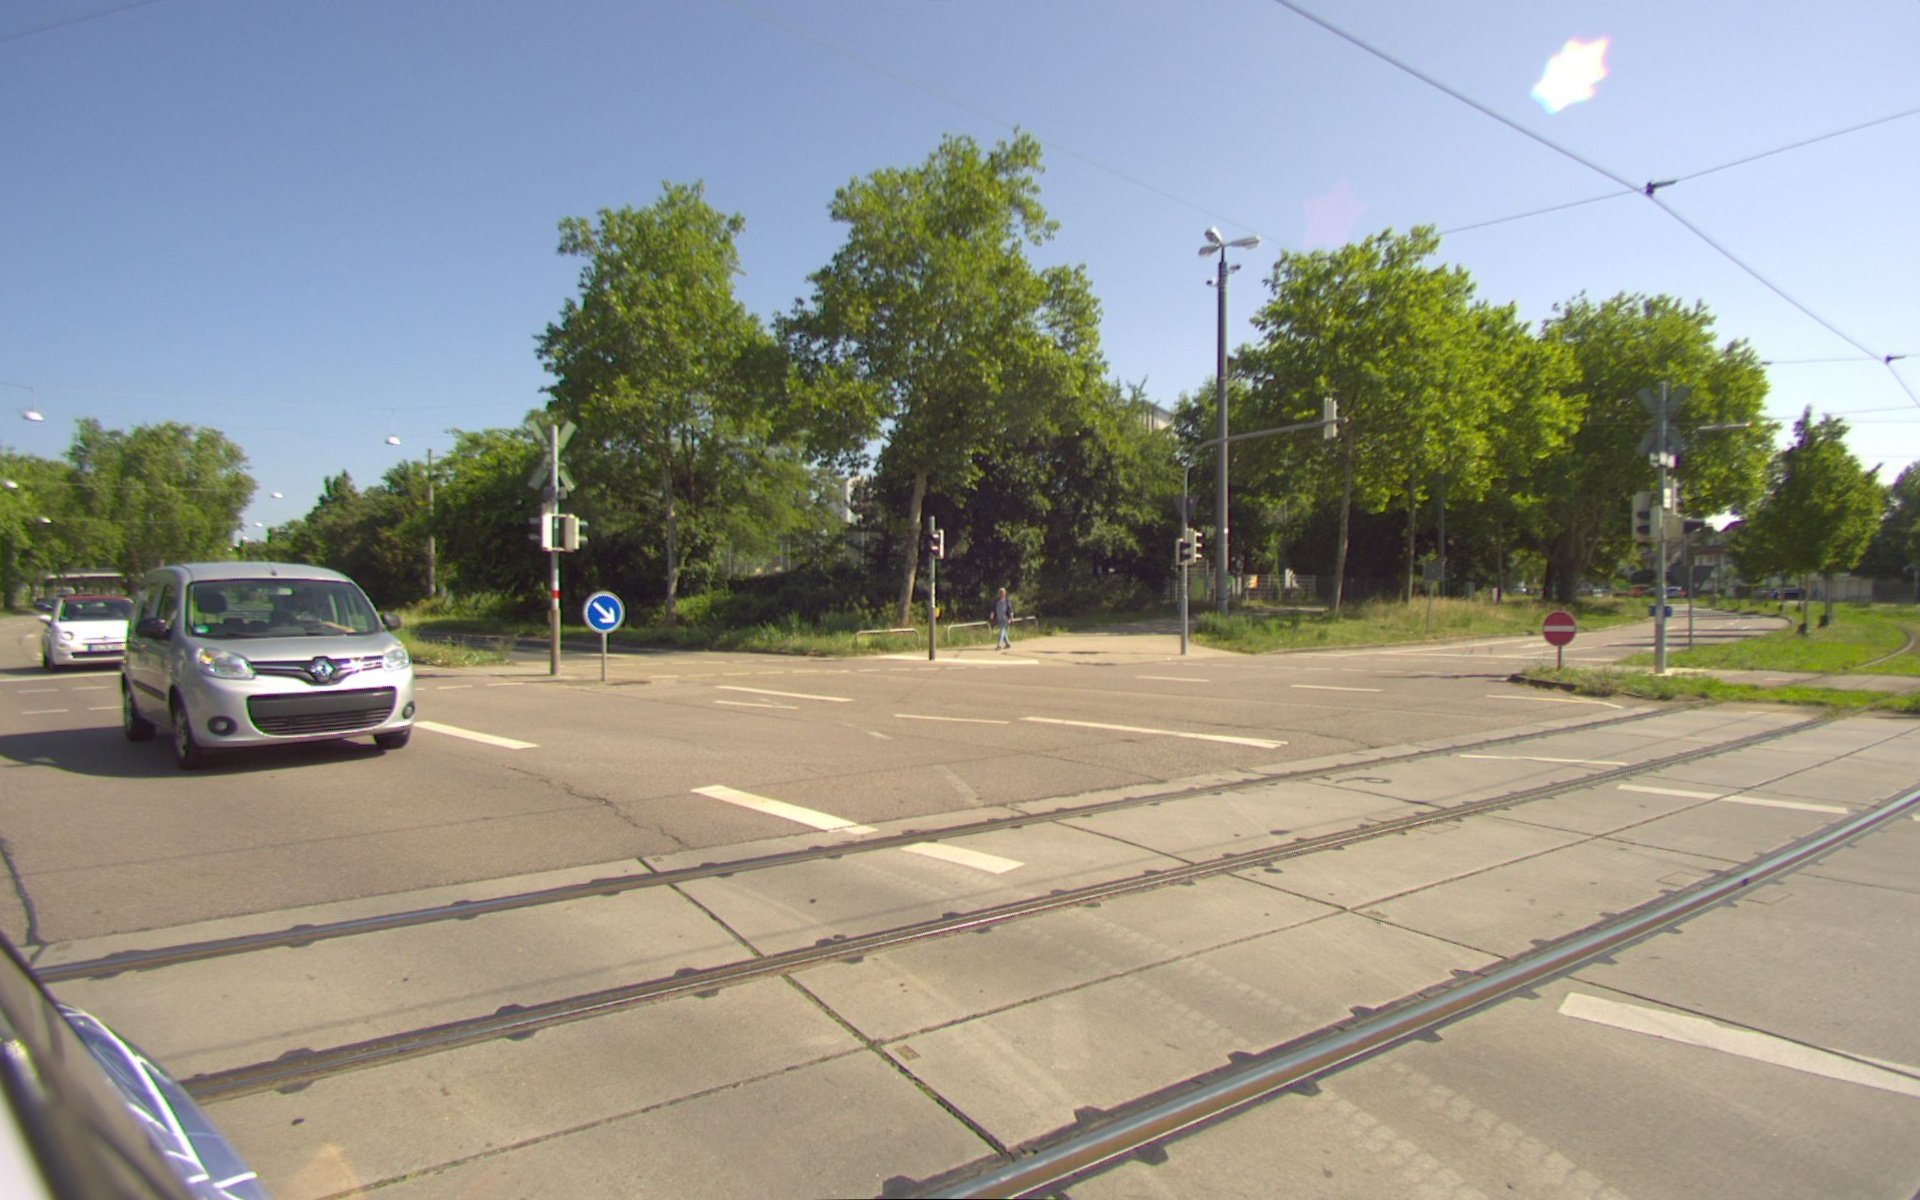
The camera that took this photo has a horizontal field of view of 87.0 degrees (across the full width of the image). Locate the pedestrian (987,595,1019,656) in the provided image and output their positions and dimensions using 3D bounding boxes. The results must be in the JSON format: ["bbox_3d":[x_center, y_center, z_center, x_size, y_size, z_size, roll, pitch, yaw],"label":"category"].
[{"bbox_3d":[1.099,0.640,25.722,0.568,1.546,0.599,-1,0,38],"label":"pedestrian"}]

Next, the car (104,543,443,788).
[{"bbox_3d":[-6.821,0.530,9.851,4.376,1.854,1.851,-1,-1,44],"label":"car"}]

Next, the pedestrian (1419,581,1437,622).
[{"bbox_3d":[24.563,0.073,53.143,0.753,2.106,0.611,-1,0,37],"label":"pedestrian"}]

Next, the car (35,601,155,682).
[{"bbox_3d":[-18.041,0.790,21.028,1.665,1.502,4.379,0,0,-44],"label":"car"}]

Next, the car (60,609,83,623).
[{"bbox_3d":[-128.643,2.306,146.557,1.966,2.029,4.011,-1,-1,-33],"label":"car"}]

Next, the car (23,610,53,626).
[{"bbox_3d":[-117.662,2.266,129.211,1.966,2.029,4.012,-1,0,-30],"label":"car"}]
